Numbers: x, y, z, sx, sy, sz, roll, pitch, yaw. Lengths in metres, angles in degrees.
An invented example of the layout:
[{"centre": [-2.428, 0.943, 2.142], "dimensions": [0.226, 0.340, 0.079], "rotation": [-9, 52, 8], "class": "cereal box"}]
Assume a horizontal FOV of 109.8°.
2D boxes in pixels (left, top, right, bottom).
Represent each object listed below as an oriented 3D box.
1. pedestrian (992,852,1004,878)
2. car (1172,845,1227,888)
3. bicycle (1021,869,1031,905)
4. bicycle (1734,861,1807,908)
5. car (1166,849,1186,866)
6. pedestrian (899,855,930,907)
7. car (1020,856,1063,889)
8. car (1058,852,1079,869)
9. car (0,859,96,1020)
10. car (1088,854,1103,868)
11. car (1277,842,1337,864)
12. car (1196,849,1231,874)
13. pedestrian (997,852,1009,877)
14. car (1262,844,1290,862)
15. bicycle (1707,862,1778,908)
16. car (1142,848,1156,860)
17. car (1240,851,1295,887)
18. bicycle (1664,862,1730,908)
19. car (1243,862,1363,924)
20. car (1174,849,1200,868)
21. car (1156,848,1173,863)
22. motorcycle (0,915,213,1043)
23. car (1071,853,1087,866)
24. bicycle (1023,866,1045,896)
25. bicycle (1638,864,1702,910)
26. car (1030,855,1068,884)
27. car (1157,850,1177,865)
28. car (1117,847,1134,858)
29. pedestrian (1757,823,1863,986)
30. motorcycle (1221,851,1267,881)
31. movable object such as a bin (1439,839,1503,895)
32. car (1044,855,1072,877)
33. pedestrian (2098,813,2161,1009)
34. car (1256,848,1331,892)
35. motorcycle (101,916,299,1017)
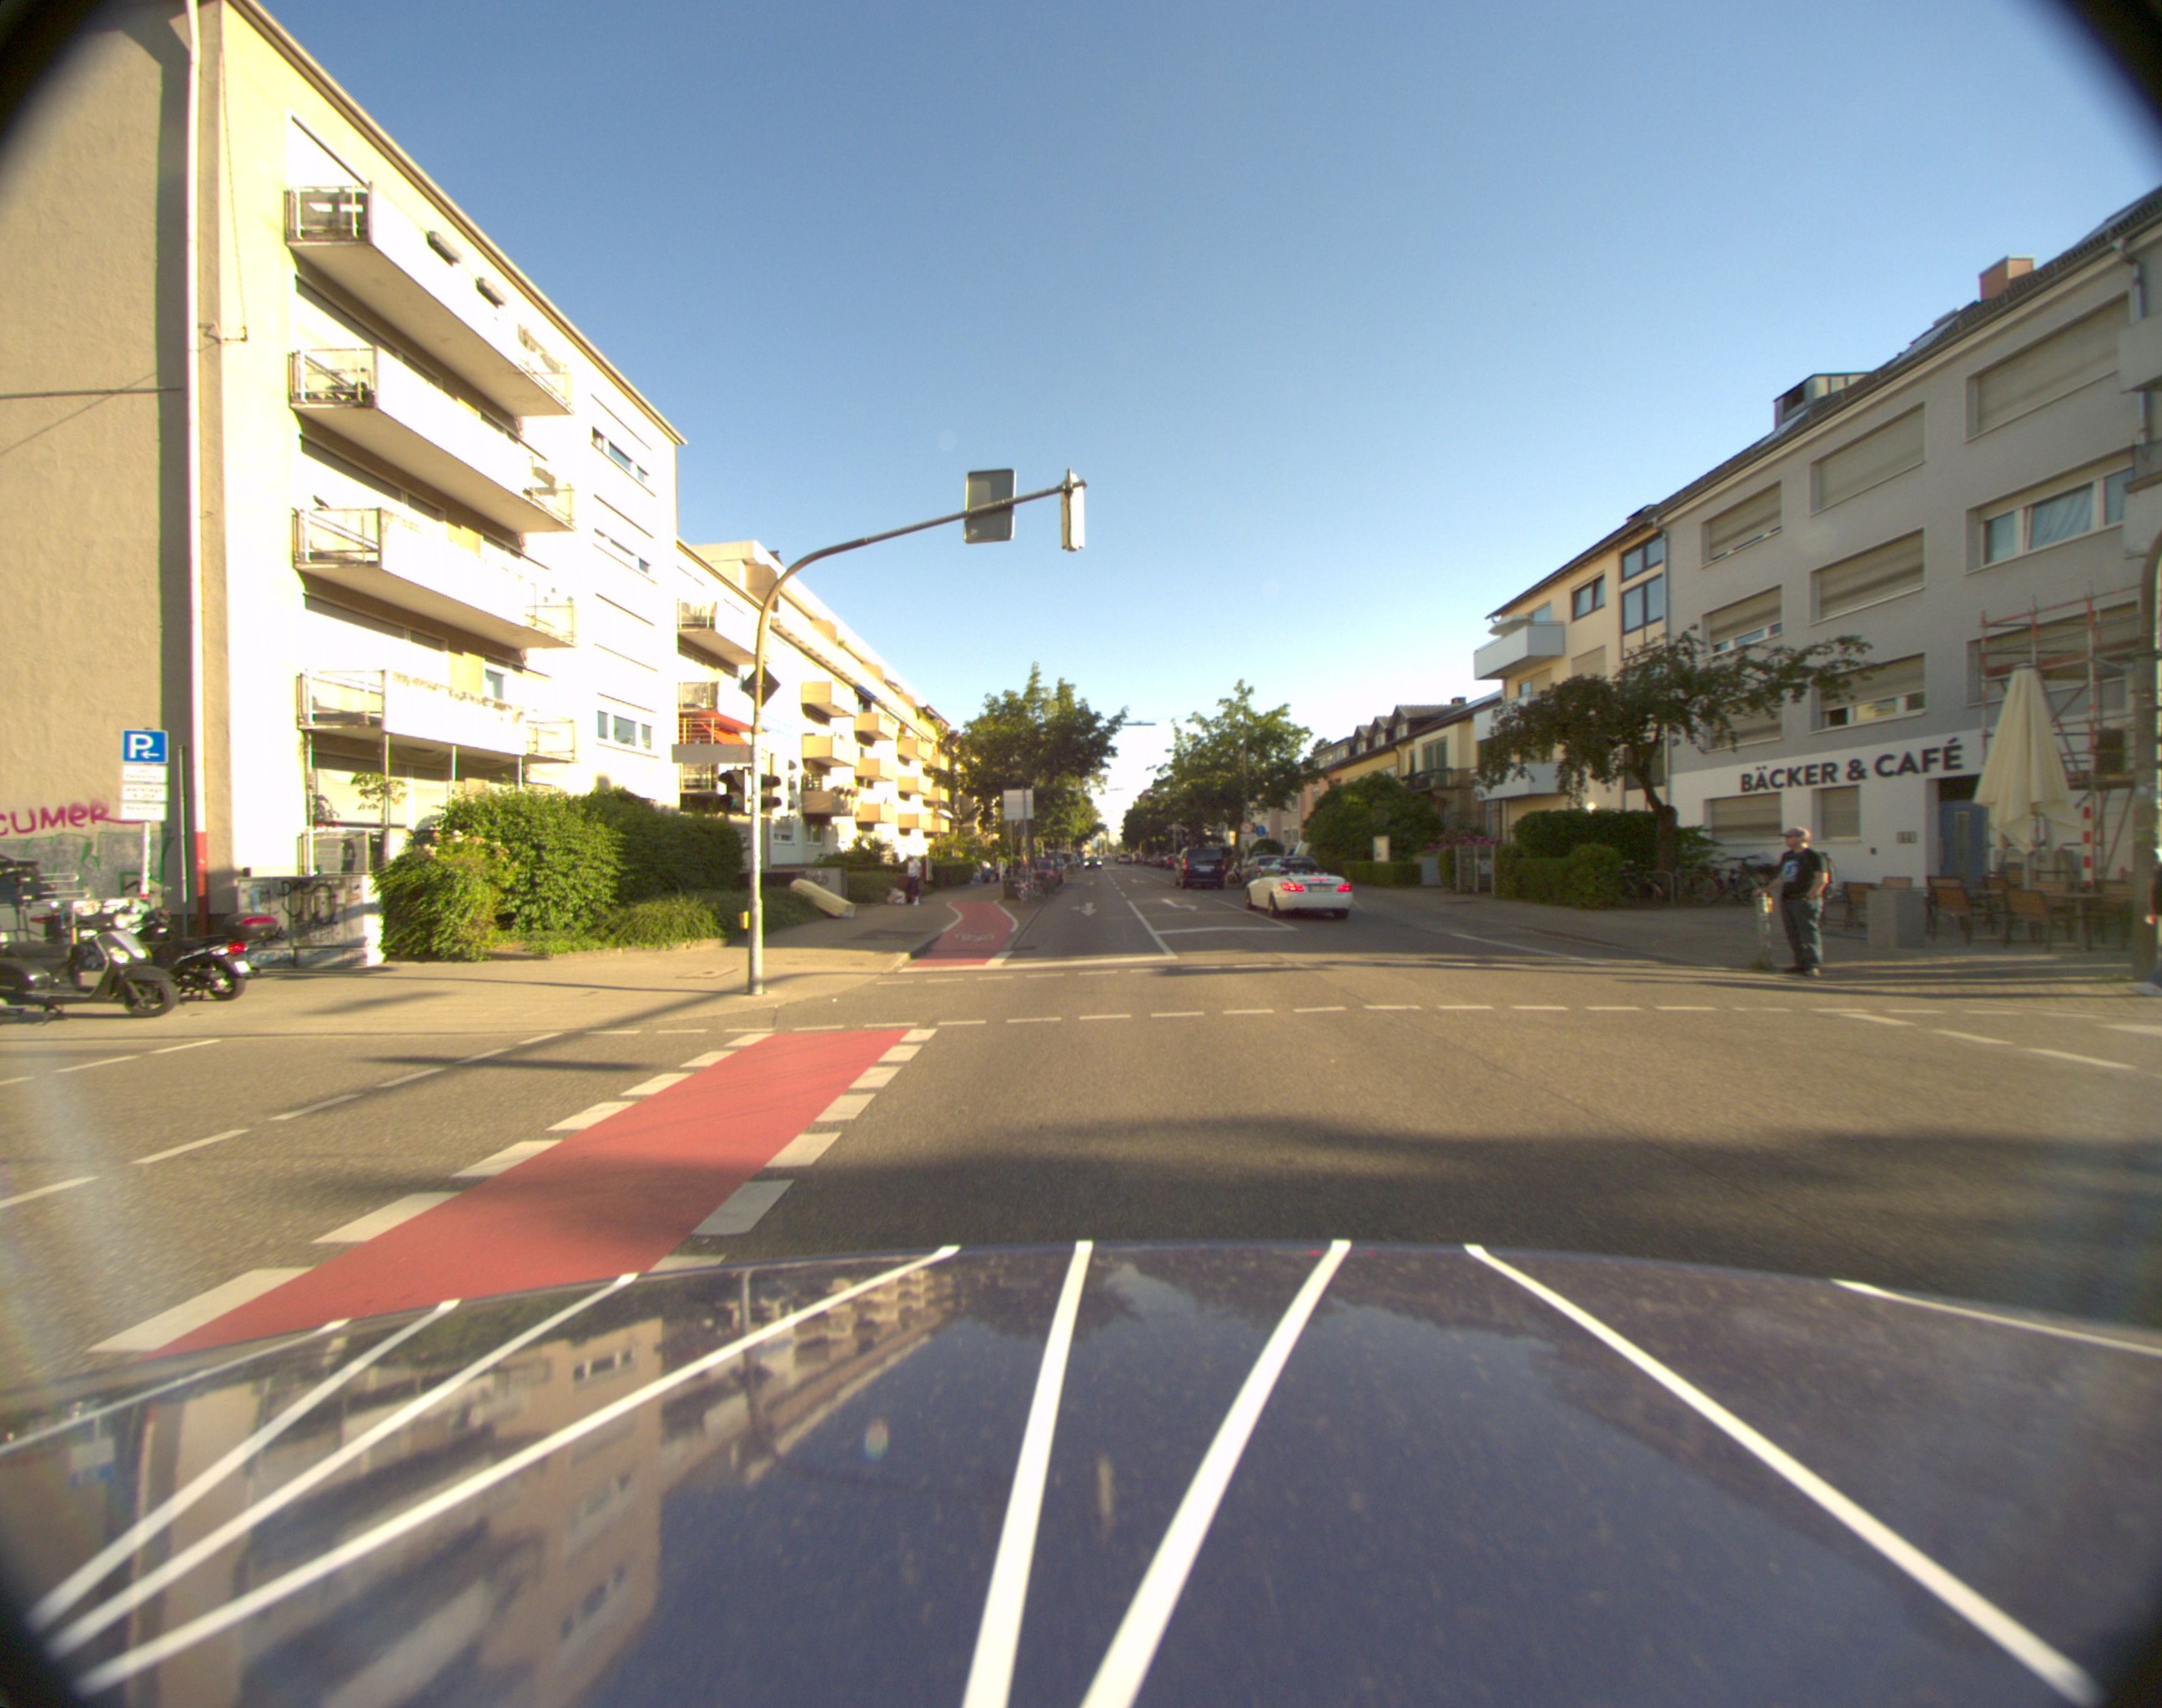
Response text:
[{"centre": [-5.446, 0.700, 49.861], "dimensions": [0.659, 1.673, 0.831], "rotation": [0, 1, 6], "class": "pedestrian"}, {"centre": [5.407, 0.535, 35.302], "dimensions": [1.842, 1.866, 4.409], "rotation": [-1, 0, 0], "class": "car"}, {"centre": [-1.908, 1.131, 26.535], "dimensions": [0.325, 1.138, 1.800], "rotation": [-1, 1, -4], "class": "bicycle"}, {"centre": [15.989, 0.691, 17.655], "dimensions": [0.439, 1.009, 1.477], "rotation": [-1, 1, 4], "class": "bicycle"}, {"centre": [9.329, 0.334, 74.884], "dimensions": [1.642, 1.554, 3.659], "rotation": [-1, 0, 1], "class": "car"}, {"centre": [-5.390, 0.869, 24.627], "dimensions": [0.830, 1.673, 0.660], "rotation": [0, 1, 5], "class": "pedestrian"}, {"centre": [-1.959, 0.884, 38.379], "dimensions": [1.744, 1.509, 3.811], "rotation": [-1, 0, 3], "class": "car"}, {"centre": [-1.143, 0.619, 73.259], "dimensions": [1.744, 1.509, 3.811], "rotation": [-1, 0, 3], "class": "car"}, {"centre": [-15.040, 1.065, 8.668], "dimensions": [4.842, 1.855, 1.952], "rotation": [-1, 2, -1], "class": "car"}, {"centre": [1.629, 0.739, 84.972], "dimensions": [1.641, 1.482, 4.415], "rotation": [0, 0, 1], "class": "car"}, {"centre": [17.499, -0.060, 58.740], "dimensions": [4.416, 1.604, 1.839], "rotation": [-1, 1, -30], "class": "car"}, {"centre": [9.027, 0.464, 51.983], "dimensions": [1.734, 1.604, 4.197], "rotation": [-1, 0, 2], "class": "car"}, {"centre": [-5.292, 0.683, 51.686], "dimensions": [0.659, 1.673, 0.831], "rotation": [0, 1, 6], "class": "pedestrian"}, {"centre": [18.161, -0.120, 70.873], "dimensions": [1.841, 1.604, 4.411], "rotation": [-1, 0, 6], "class": "car"}, {"centre": [15.371, 0.704, 17.704], "dimensions": [0.439, 1.009, 1.477], "rotation": [-1, 1, 4], "class": "bicycle"}, {"centre": [9.599, -0.034, 107.147], "dimensions": [1.642, 1.554, 3.659], "rotation": [-1, 0, 1], "class": "car"}, {"centre": [8.561, 0.658, 35.164], "dimensions": [1.755, 1.526, 3.572], "rotation": [-1, 0, 2], "class": "car"}, {"centre": [14.473, 0.700, 17.886], "dimensions": [0.439, 1.009, 1.477], "rotation": [-1, 1, 4], "class": "bicycle"}, {"centre": [5.489, 0.901, 19.356], "dimensions": [1.845, 1.312, 4.441], "rotation": [0, 0, 1], "class": "car"}, {"centre": [9.591, 0.365, 69.130], "dimensions": [1.842, 1.604, 4.409], "rotation": [-1, 0, 1], "class": "car"}, {"centre": [9.720, 0.188, 88.474], "dimensions": [1.692, 1.656, 3.659], "rotation": [-1, 1, 1], "class": "car"}, {"centre": [-10.955, 1.332, 8.199], "dimensions": [1.992, 1.194, 0.774], "rotation": [-2, 1, -12], "class": "motorcycle"}, {"centre": [-0.191, 0.642, 95.180], "dimensions": [1.744, 1.509, 3.811], "rotation": [-1, 0, 3], "class": "car"}, {"centre": [-1.898, 1.074, 30.609], "dimensions": [0.324, 1.138, 1.802], "rotation": [-1, 1, 14], "class": "bicycle"}, {"centre": [13.868, 0.759, 17.940], "dimensions": [0.439, 1.009, 1.477], "rotation": [-1, 1, 4], "class": "bicycle"}, {"centre": [-1.780, 0.834, 43.258], "dimensions": [1.744, 1.509, 3.811], "rotation": [-1, 0, 3], "class": "car"}, {"centre": [9.124, 0.342, 80.919], "dimensions": [1.692, 1.554, 3.659], "rotation": [-1, 0, 1], "class": "car"}, {"centre": [6.987, -0.242, 119.590], "dimensions": [1.843, 1.604, 4.406], "rotation": [-1, 0, -6], "class": "car"}, {"centre": [9.272, 0.620, 9.690], "dimensions": [0.639, 2.002, 0.739], "rotation": [-1, 1, 2], "class": "pedestrian"}, {"centre": [8.477, 0.597, 39.704], "dimensions": [1.263, 1.526, 2.887], "rotation": [-1, 1, -13], "class": "motorcycle"}, {"centre": [12.318, 0.387, 24.045], "dimensions": [1.309, 1.649, 1.180], "rotation": [-5, 2, 1], "class": "movable object such as a bin"}, {"centre": [-1.657, 0.878, 56.442], "dimensions": [1.744, 1.509, 3.811], "rotation": [-1, 0, 3], "class": "car"}, {"centre": [11.385, 0.577, 7.854], "dimensions": [0.645, 2.002, 0.814], "rotation": [-2, 2, 2], "class": "pedestrian"}, {"centre": [8.452, 0.598, 30.574], "dimensions": [1.810, 1.604, 3.950], "rotation": [-1, 0, -2], "class": "car"}, {"centre": [-10.699, 1.354, 9.262], "dimensions": [1.698, 1.105, 0.594], "rotation": [-2, 1, 2], "class": "motorcycle"}]
